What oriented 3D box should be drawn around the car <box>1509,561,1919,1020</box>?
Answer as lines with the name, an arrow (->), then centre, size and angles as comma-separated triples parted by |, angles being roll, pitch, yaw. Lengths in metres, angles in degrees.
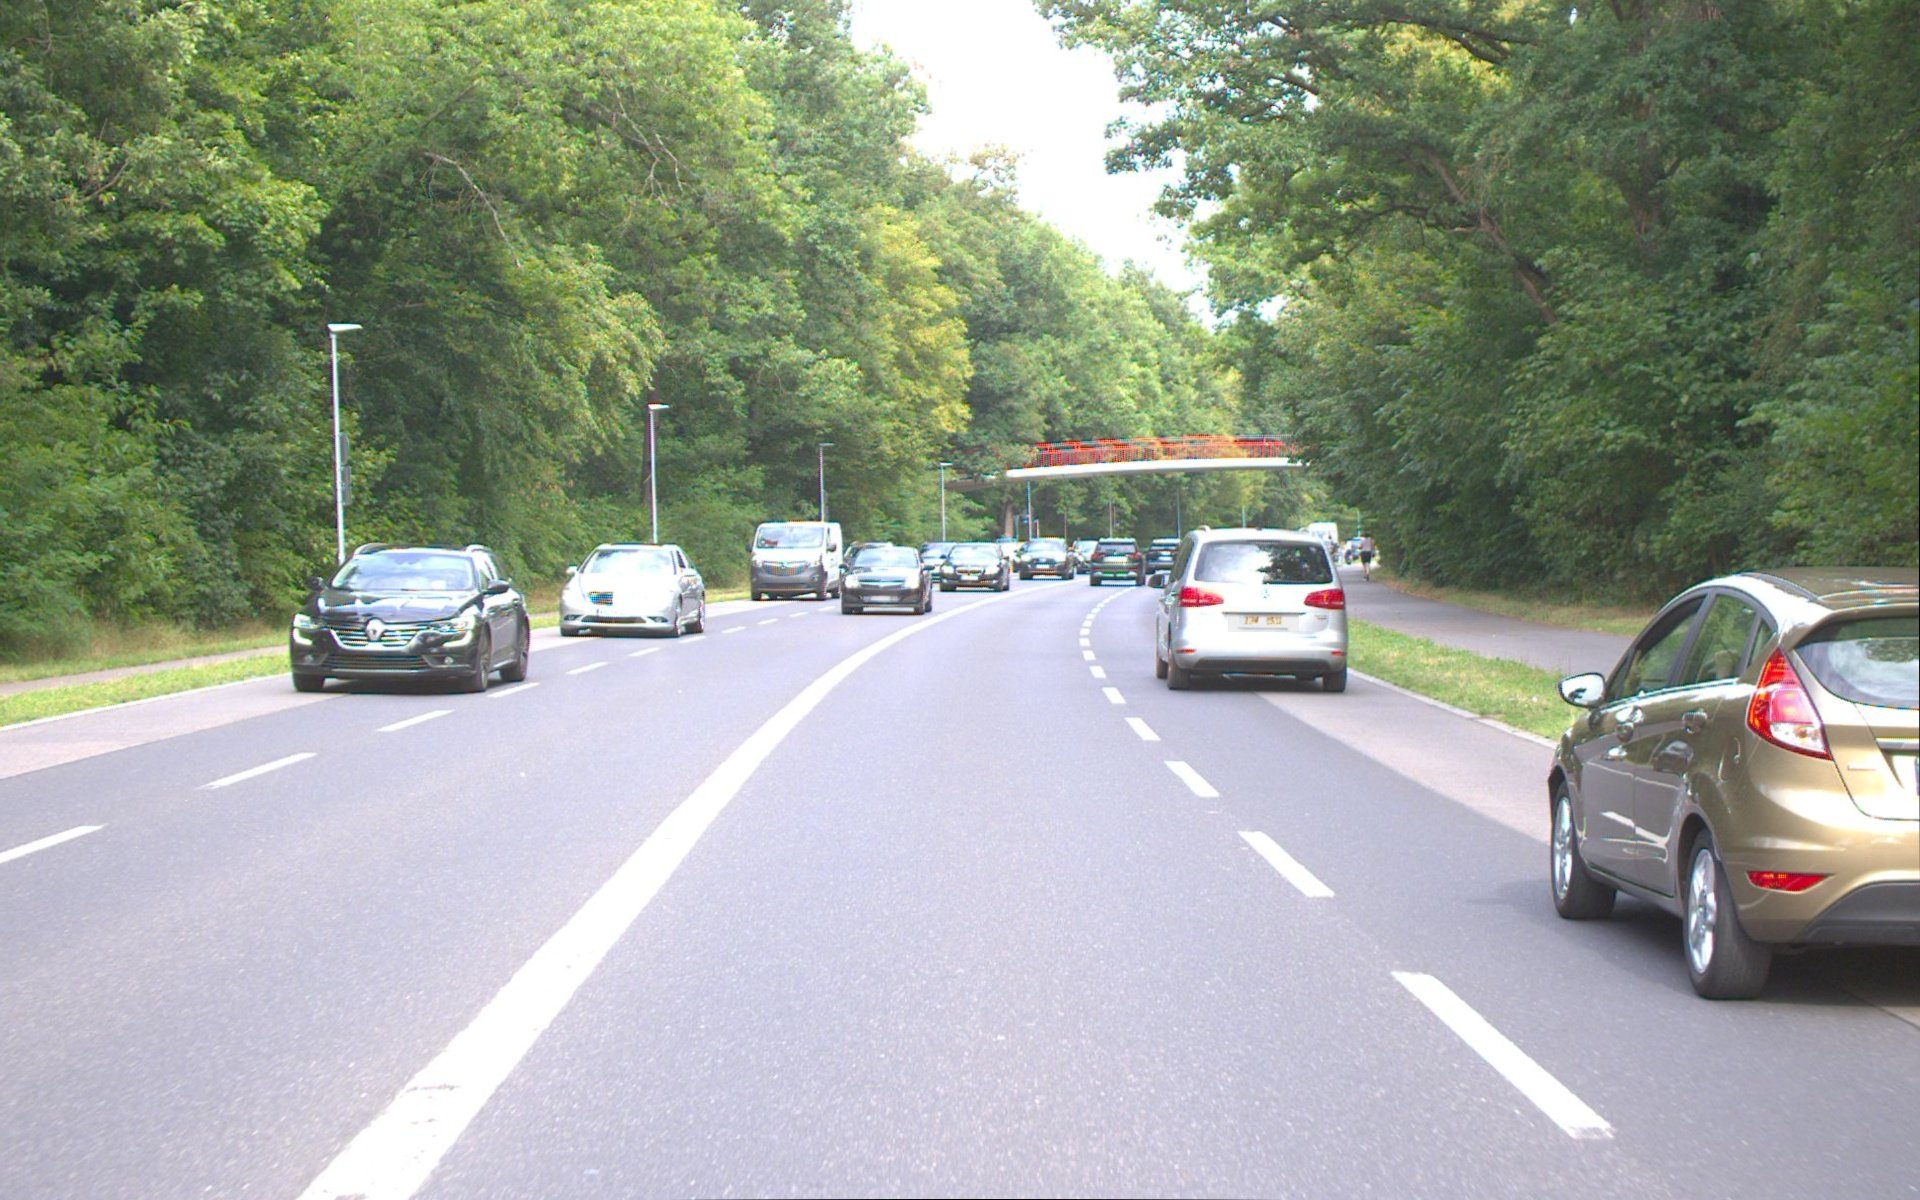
car -> 3.195, 0.604, 12.736 | 1.635, 1.415, 4.000 | 2, 0, 0

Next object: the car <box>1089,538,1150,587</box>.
car -> 5.473, -1.273, 117.497 | 1.730, 1.582, 3.999 | 2, 0, 7

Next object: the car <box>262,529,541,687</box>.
car -> -5.569, 0.070, 34.826 | 1.881, 1.438, 4.403 | 2, 0, 3

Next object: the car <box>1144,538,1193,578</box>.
car -> 9.572, -1.919, 157.555 | 1.994, 1.691, 3.999 | 2, 0, 7

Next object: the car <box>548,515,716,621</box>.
car -> -5.179, -0.498, 54.845 | 1.994, 1.557, 4.603 | 2, 0, 3

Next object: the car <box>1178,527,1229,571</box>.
car -> 10.322, -2.136, 145.572 | 1.994, 1.744, 3.999 | 2, 0, 6

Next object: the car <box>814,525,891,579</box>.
car -> -3.193, -1.419, 102.589 | 1.885, 1.552, 4.518 | 1, 0, 3

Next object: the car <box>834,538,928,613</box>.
car -> -1.640, -0.504, 72.077 | 1.656, 1.481, 3.866 | 2, 0, 3

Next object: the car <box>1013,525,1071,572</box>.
car -> 3.197, -1.981, 133.756 | 1.963, 1.700, 3.999 | -2, 0, 5

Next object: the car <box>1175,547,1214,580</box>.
car -> 11.712, -1.828, 172.157 | 1.818, 1.561, 4.000 | 2, 0, 3

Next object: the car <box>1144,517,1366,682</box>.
car -> 3.083, -0.009, 36.695 | 1.993, 1.601, 4.000 | 2, 0, 0

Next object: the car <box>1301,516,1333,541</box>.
car -> 23.995, -4.813, 231.273 | 1.994, 1.700, 3.999 | 0, 1, 8

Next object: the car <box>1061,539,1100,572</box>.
car -> 5.500, -2.031, 156.802 | 1.698, 1.381, 3.826 | -3, 0, 2

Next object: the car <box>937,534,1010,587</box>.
car -> 0.427, -1.171, 102.632 | 1.885, 1.473, 4.518 | 2, 0, 3

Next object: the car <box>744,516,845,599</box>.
car -> -4.129, -1.043, 86.549 | 1.994, 2.007, 5.053 | 0, 0, 4
